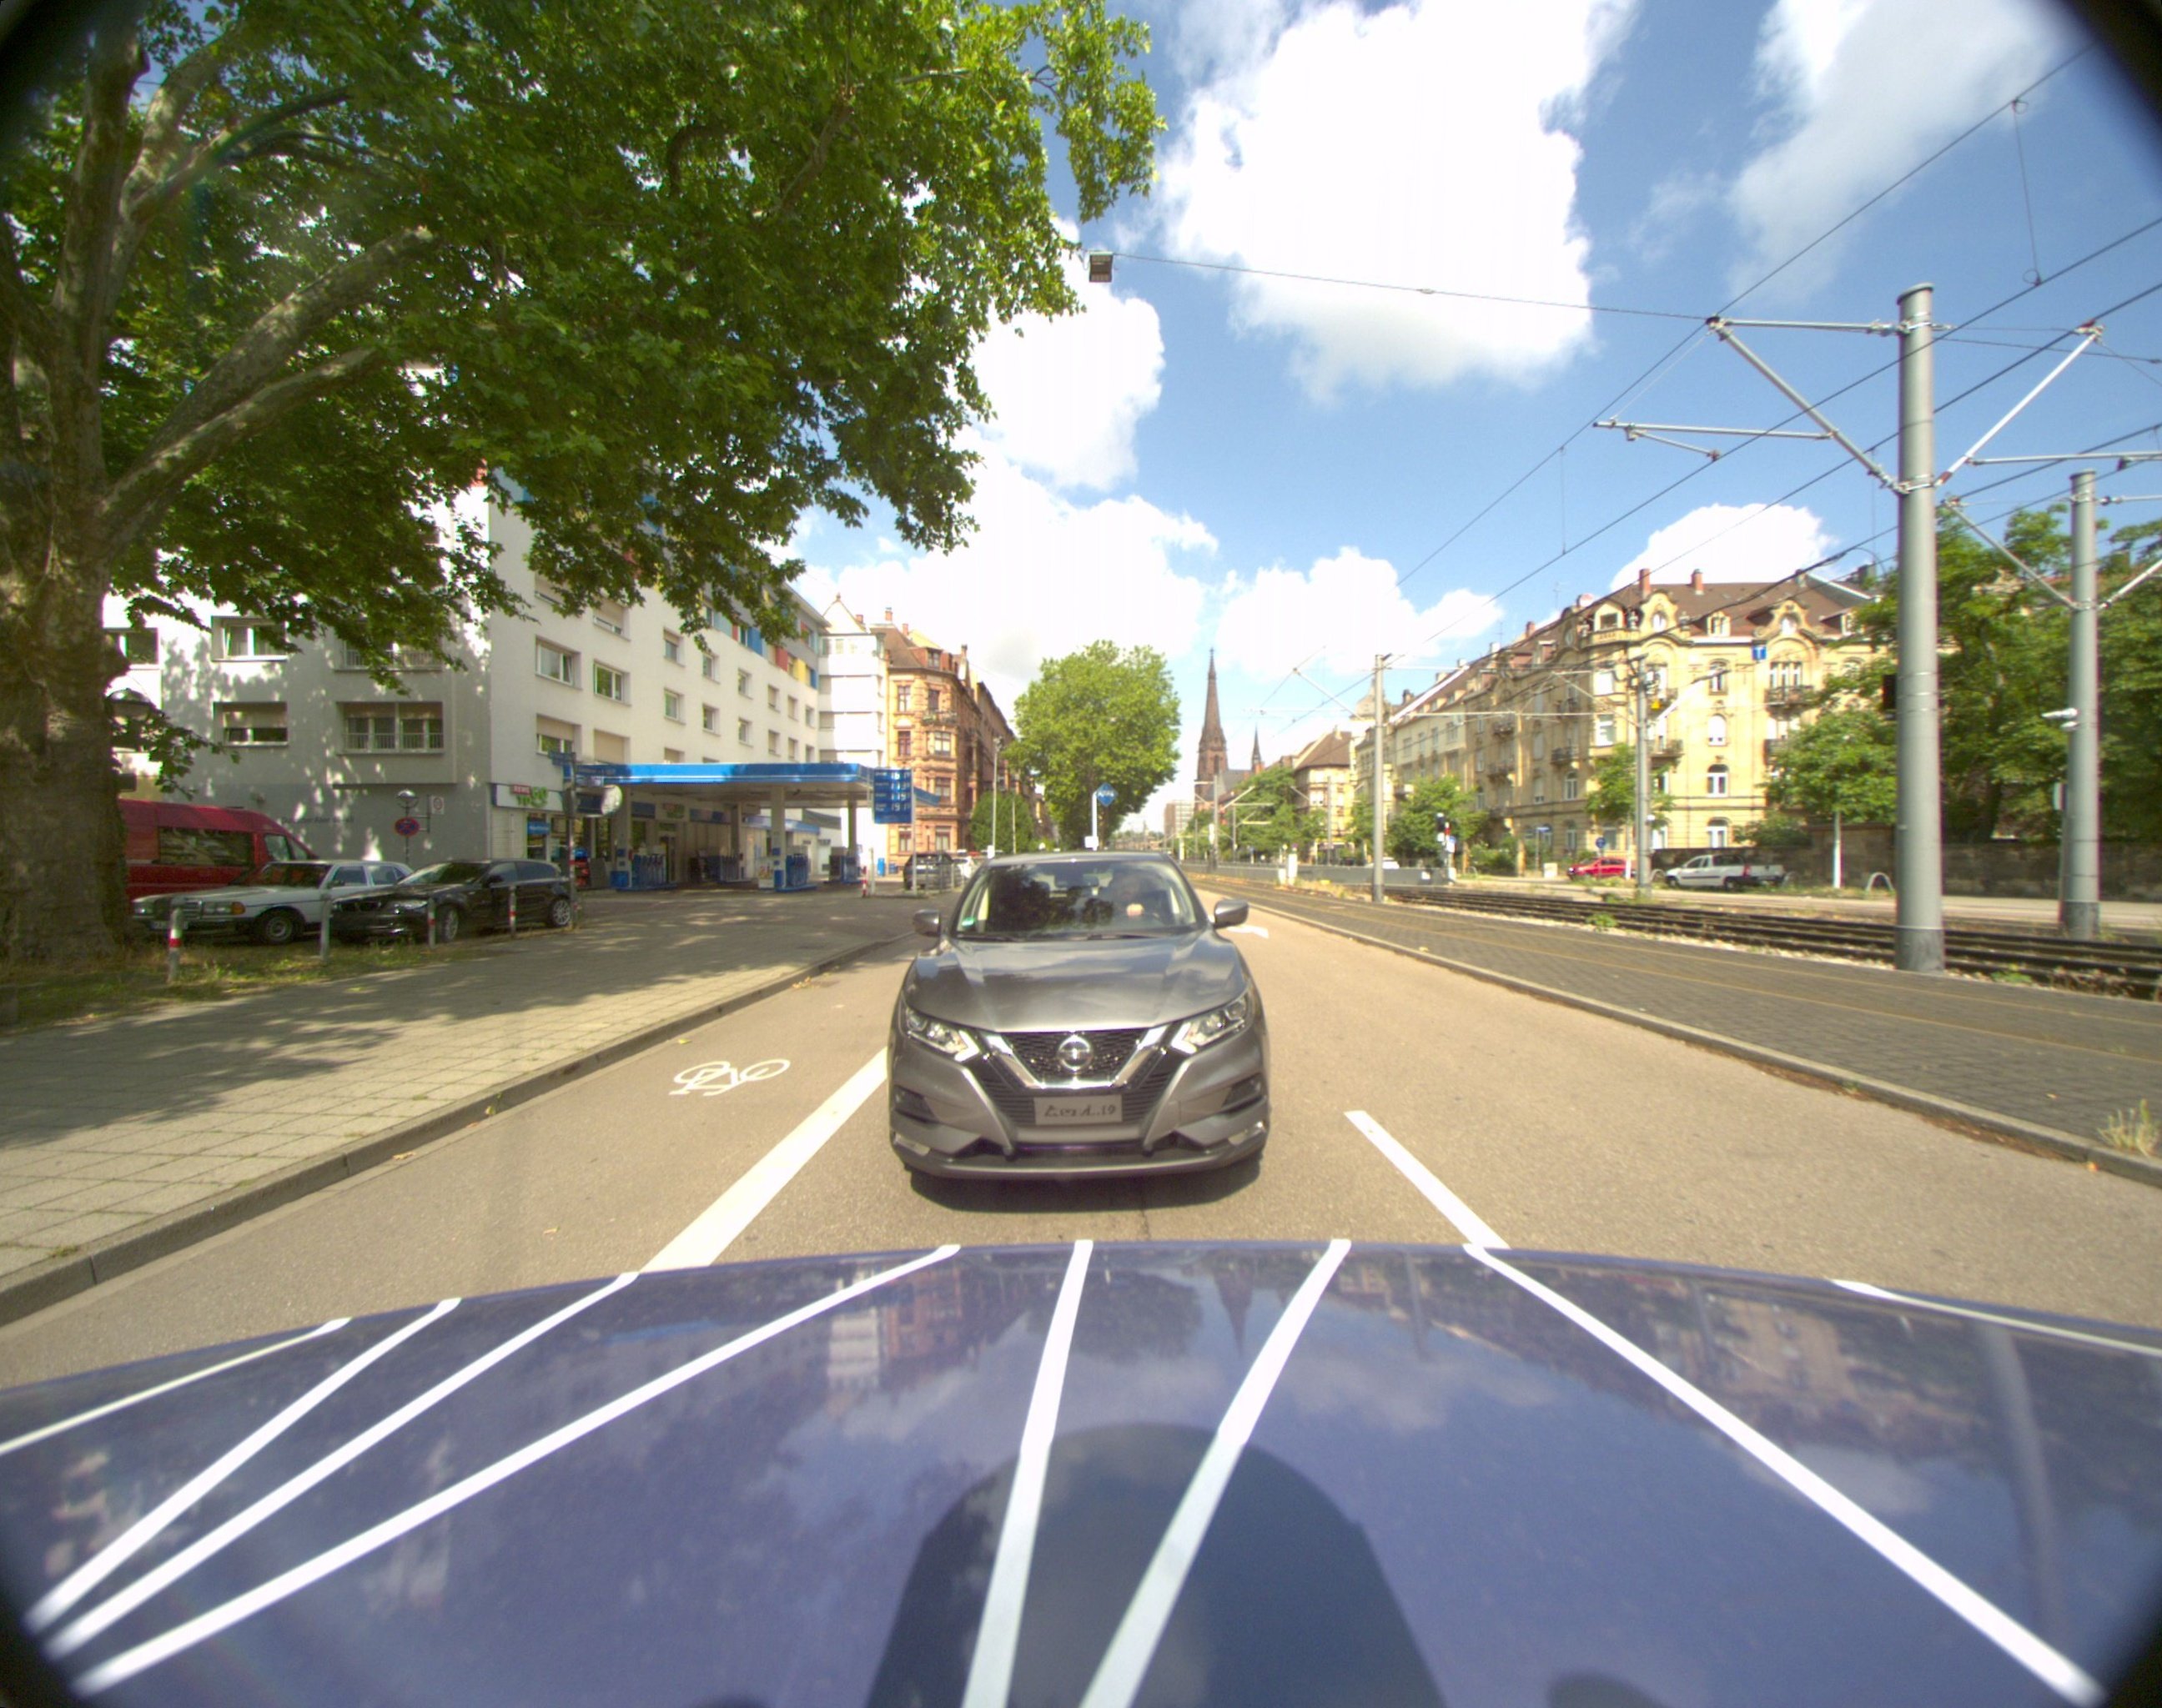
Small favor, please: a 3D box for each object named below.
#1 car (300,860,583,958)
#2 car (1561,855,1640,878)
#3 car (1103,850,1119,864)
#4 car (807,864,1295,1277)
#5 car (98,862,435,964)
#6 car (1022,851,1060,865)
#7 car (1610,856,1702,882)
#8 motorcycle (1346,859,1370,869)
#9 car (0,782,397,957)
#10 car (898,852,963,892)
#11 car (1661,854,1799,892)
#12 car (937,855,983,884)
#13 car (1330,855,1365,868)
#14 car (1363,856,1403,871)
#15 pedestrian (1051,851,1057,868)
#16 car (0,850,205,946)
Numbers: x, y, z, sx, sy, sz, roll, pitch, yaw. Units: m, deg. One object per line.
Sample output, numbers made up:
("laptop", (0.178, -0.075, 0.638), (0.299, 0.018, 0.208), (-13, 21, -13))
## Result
("car", (-11.110, 0.855, 13.645), (1.653, 1.461, 4.042), (0, 0, 0))
("car", (33.817, 0.798, 49.553), (3.788, 1.455, 1.933), (0, 0, 4))
("car", (3.189, 0.322, 81.605), (1.557, 1.476, 3.858), (3, 0, 0))
("car", (-0.071, 0.835, 5.093), (1.800, 1.454, 4.567), (0, 0, 1))
("car", (-13.814, 0.895, 13.315), (1.653, 1.461, 4.042), (0, 0, -3))
("car", (-5.223, 0.508, 98.317), (4.735, 1.772, 2.004), (-2, 1, -7))
("car", (33.124, 0.862, 43.832), (3.972, 1.455, 1.723), (0, 0, 1))
("motorcycle", (27.116, 0.957, 74.473), (1.765, 0.936, 1.417), (1, 0, -1))
("car", (-16.661, 0.233, 14.199), (2.116, 2.567, 6.020), (0, 0, 2))
("car", (-6.538, 0.749, 33.586), (1.810, 1.593, 4.583), (-1, 0, 2))
("car", (26.908, 0.739, 31.722), (1.936, 1.495, 4.413), (0, 0, -1))
("car", (-6.416, 0.813, 40.671), (1.810, 1.447, 4.001), (-1, 0, 0))
("car", (27.118, 0.749, 77.394), (2.025, 1.319, 4.100), (0, 0, -2))
("car", (27.138, 0.817, 68.451), (1.756, 1.320, 4.312), (0, 0, -1))
("pedestrian", (-2.725, 0.550, 77.514), (0.565, 1.776, 0.630), (0, 1, 0))
("car", (-19.427, 0.778, 13.589), (2.011, 1.641, 4.653), (-2, 0, 2))
